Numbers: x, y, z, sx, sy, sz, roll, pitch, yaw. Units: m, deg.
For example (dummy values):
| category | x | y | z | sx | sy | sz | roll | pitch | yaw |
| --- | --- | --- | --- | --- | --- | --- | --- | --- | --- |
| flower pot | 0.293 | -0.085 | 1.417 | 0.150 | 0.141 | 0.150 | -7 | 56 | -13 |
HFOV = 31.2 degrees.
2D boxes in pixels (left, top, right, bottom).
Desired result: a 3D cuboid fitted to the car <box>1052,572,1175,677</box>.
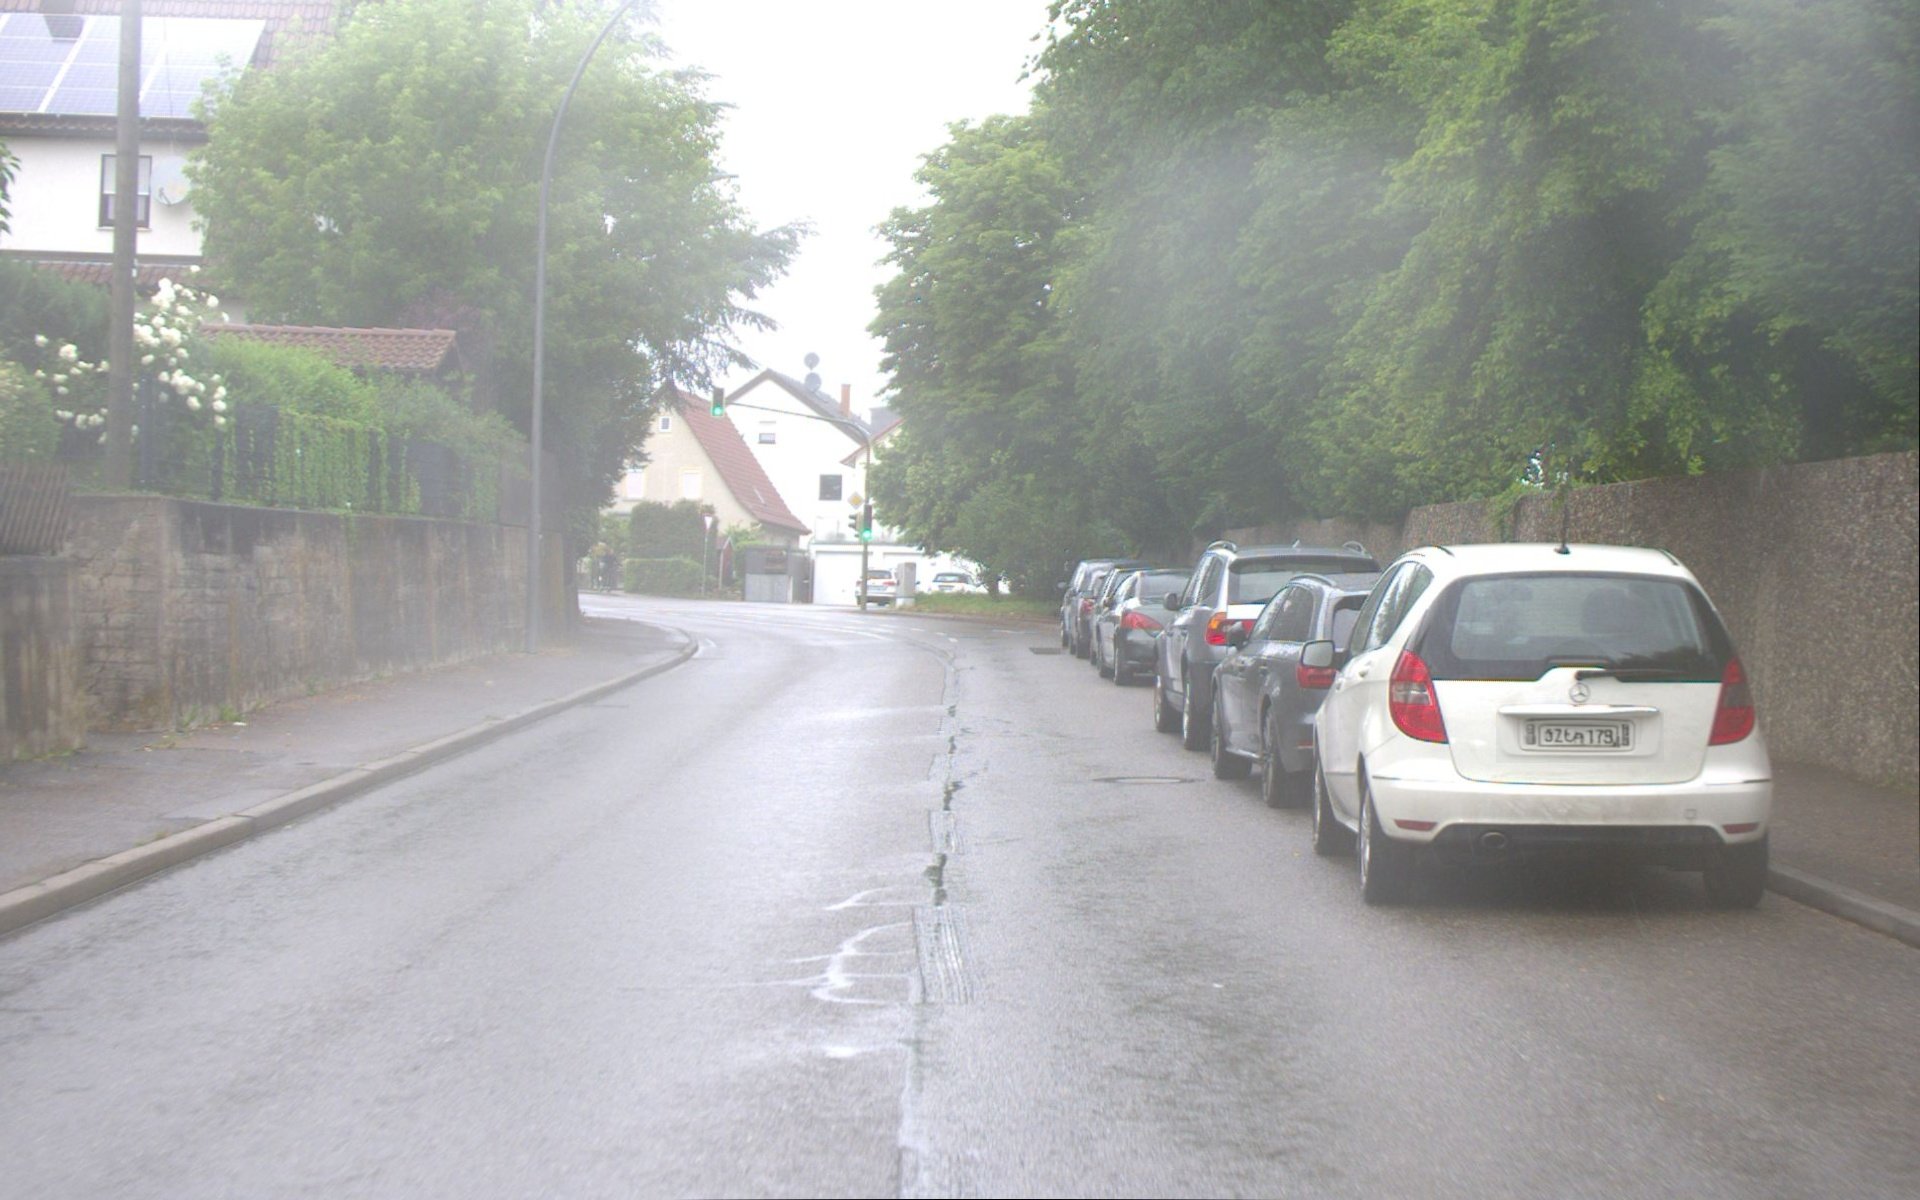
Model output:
| category | x | y | z | sx | sy | sz | roll | pitch | yaw |
| --- | --- | --- | --- | --- | --- | --- | --- | --- | --- |
| car | 2.321 | 0.380 | 52.879 | 1.647 | 1.492 | 4.246 | 2 | -1 | 0 |

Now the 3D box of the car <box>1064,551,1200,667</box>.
| category | x | y | z | sx | sy | sz | roll | pitch | yaw |
| --- | --- | --- | --- | --- | --- | --- | --- | --- | --- |
| car | 2.359 | 0.137 | 47.861 | 1.647 | 1.492 | 3.709 | 2 | -1 | 0 |

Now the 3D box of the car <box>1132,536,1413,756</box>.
| category | x | y | z | sx | sy | sz | roll | pitch | yaw |
| --- | --- | --- | --- | --- | --- | --- | --- | --- | --- |
| car | 2.521 | 0.350 | 28.718 | 1.742 | 1.662 | 4.498 | 1 | 0 | -2 |

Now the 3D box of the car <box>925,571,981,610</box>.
| category | x | y | z | sx | sy | sz | roll | pitch | yaw |
| --- | --- | --- | --- | --- | --- | --- | --- | --- | --- |
| car | -0.248 | -0.397 | 132.713 | 1.907 | 1.437 | 4.000 | 1 | 1 | 3 |

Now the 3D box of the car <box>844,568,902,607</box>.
| category | x | y | z | sx | sy | sz | roll | pitch | yaw |
| --- | --- | --- | --- | --- | --- | --- | --- | --- | --- |
| car | -3.351 | -0.482 | 133.175 | 1.907 | 1.437 | 4.000 | 1 | 1 | 3 |

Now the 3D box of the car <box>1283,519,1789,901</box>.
| category | x | y | z | sx | sy | sz | roll | pitch | yaw |
| --- | --- | --- | --- | --- | --- | --- | --- | --- | --- |
| car | 2.598 | 0.458 | 16.366 | 1.815 | 1.568 | 3.880 | 1 | 0 | 1 |

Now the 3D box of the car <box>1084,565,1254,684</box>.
| category | x | y | z | sx | sy | sz | roll | pitch | yaw |
| --- | --- | --- | --- | --- | --- | --- | --- | --- | --- |
| car | 2.528 | 0.267 | 42.434 | 1.651 | 1.367 | 4.182 | 1 | 1 | -2 |

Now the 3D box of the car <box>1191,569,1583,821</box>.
| category | x | y | z | sx | sy | sz | roll | pitch | yaw |
| --- | --- | --- | --- | --- | --- | --- | --- | --- | --- |
| car | 2.655 | 0.552 | 22.448 | 1.764 | 1.442 | 4.697 | 1 | 0 | -2 |
